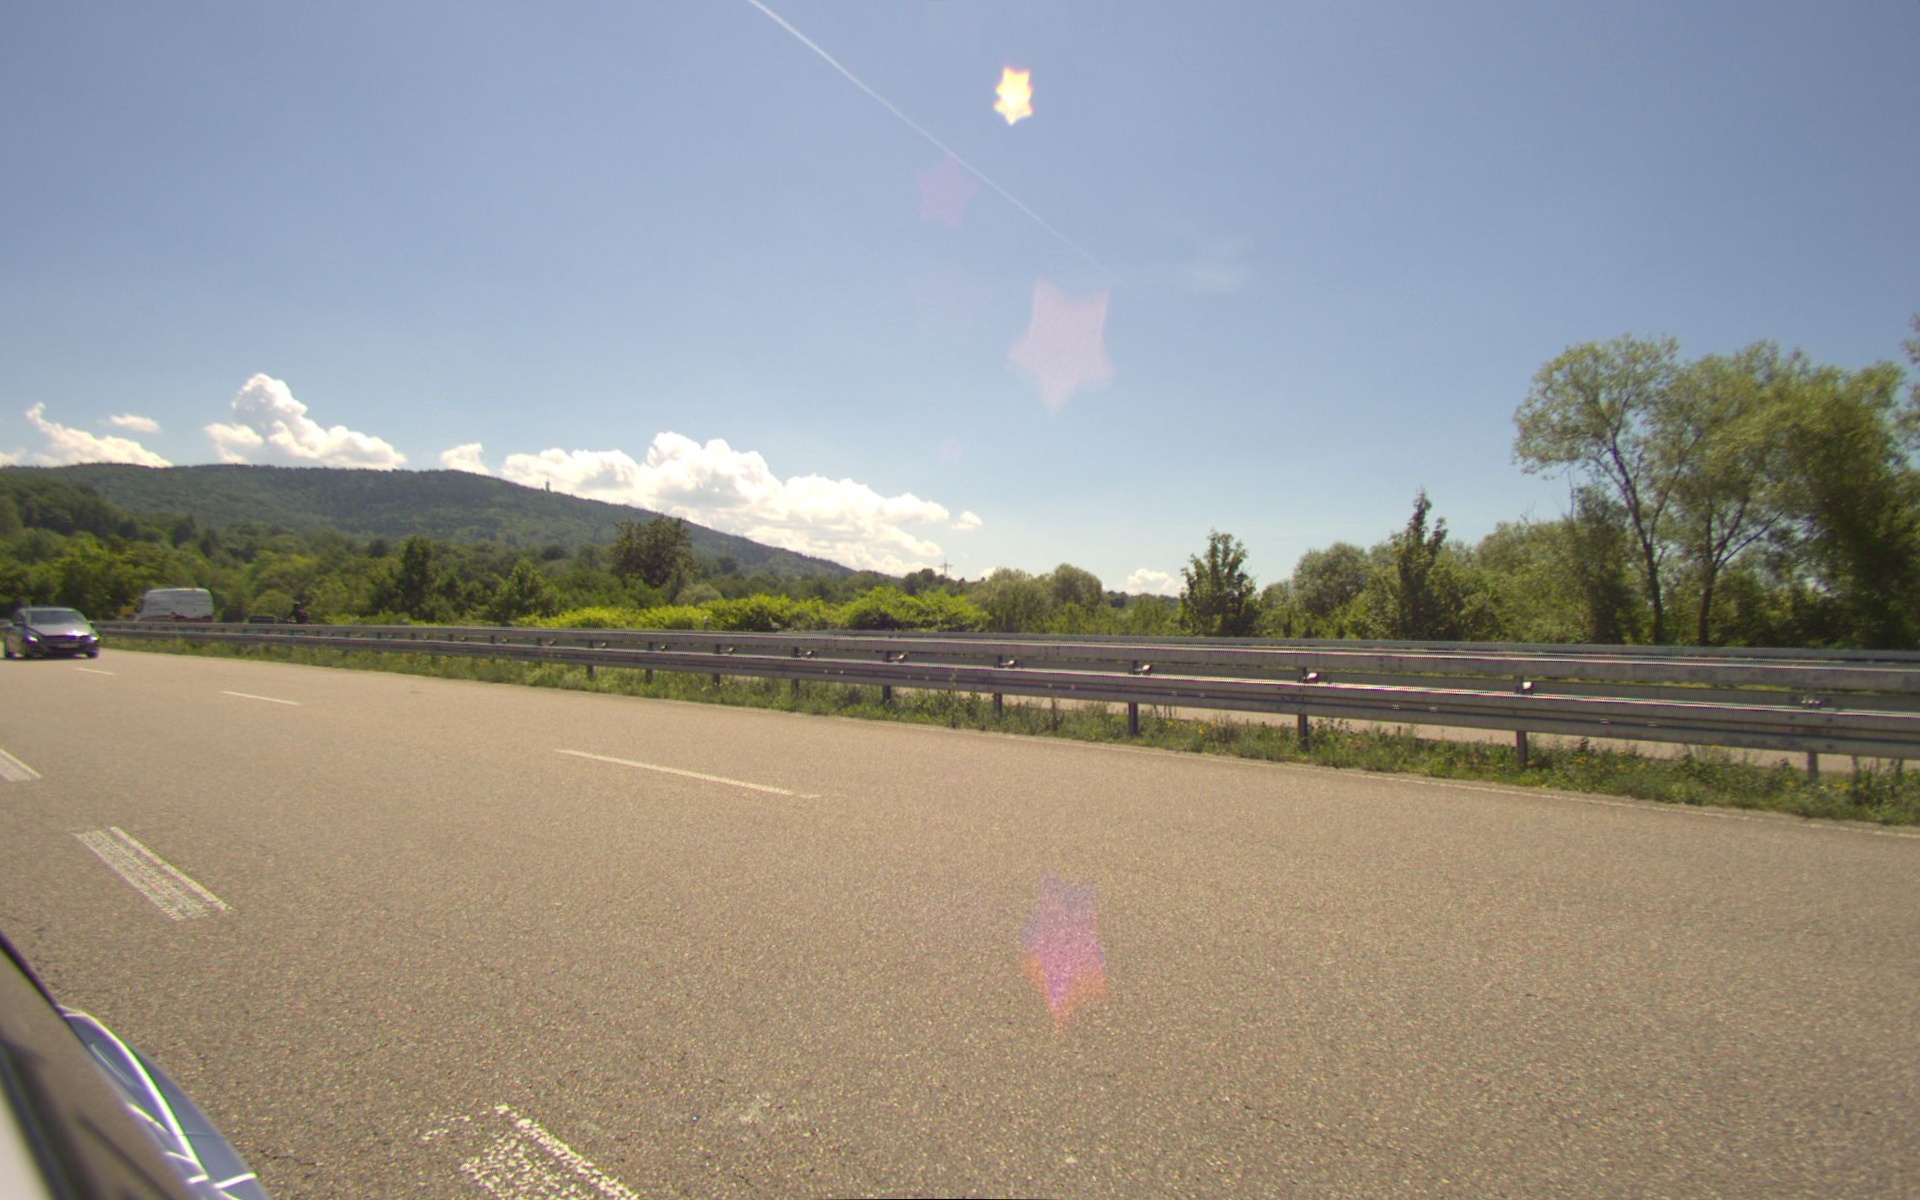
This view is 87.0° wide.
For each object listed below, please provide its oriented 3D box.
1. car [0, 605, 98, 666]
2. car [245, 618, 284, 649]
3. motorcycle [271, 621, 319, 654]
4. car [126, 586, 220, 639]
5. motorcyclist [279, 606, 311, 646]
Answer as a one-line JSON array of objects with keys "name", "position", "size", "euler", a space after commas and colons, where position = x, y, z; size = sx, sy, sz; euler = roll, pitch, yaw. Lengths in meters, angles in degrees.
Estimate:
[{"name": "car", "position": [-28.566, 1.038, 31.549], "size": [4.549, 1.680, 1.776], "euler": [1, 1, 39]}, {"name": "car", "position": [-63.383, 3.004, 92.326], "size": [2.173, 2.657, 5.644], "euler": [2, -1, -27]}, {"name": "motorcycle", "position": [-24.893, 1.382, 37.866], "size": [2.527, 1.152, 0.783], "euler": [1, -1, 40]}, {"name": "car", "position": [-44.408, 0.661, 57.010], "size": [7.208, 2.794, 2.258], "euler": [1, -1, 36]}, {"name": "motorcyclist", "position": [-24.891, 0.973, 37.866], "size": [0.767, 1.444, 0.783], "euler": [1, -1, 39]}]
